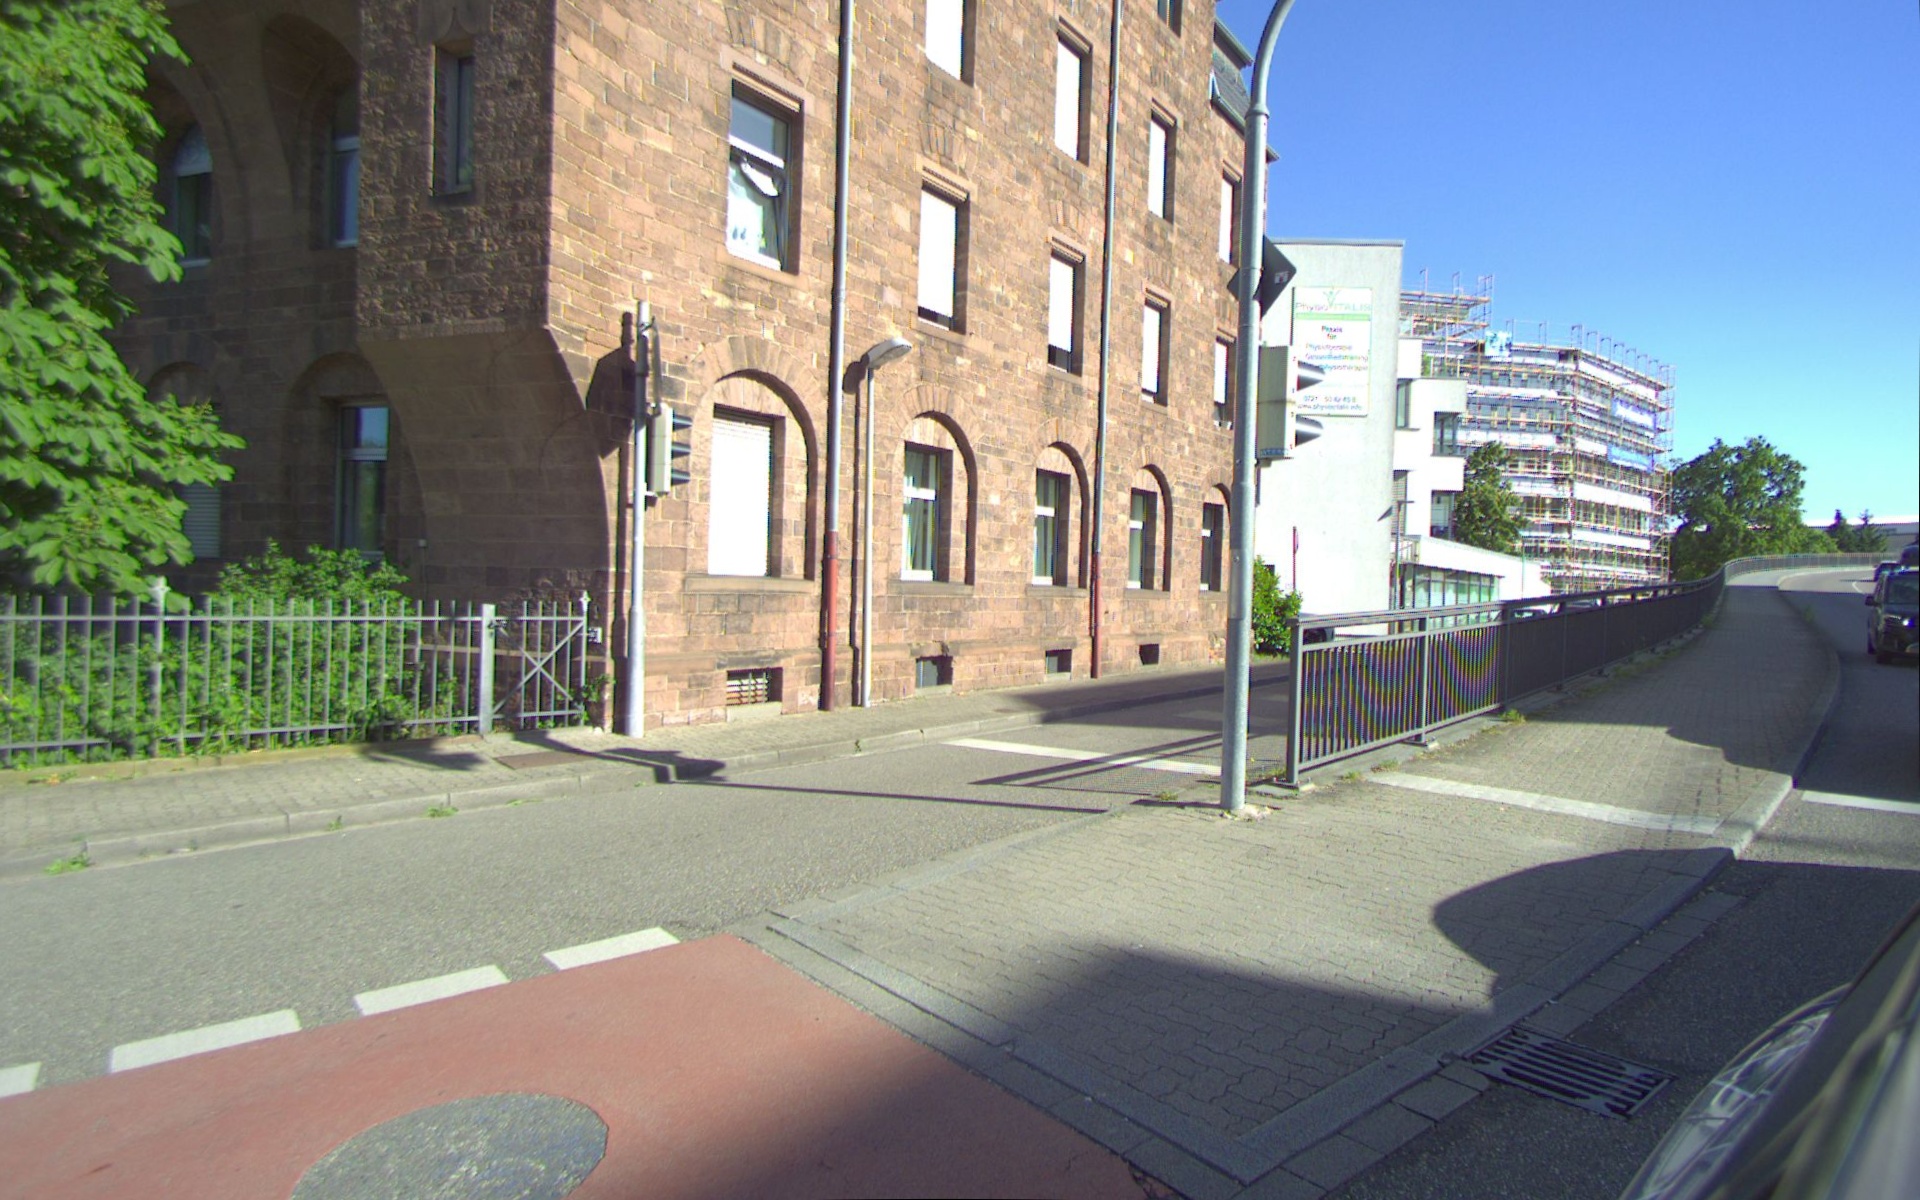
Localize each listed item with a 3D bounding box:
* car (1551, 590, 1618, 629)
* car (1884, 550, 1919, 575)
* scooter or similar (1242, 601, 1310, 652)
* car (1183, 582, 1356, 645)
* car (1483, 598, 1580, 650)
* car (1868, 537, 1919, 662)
[{"bbox_3d":[27.596,0.395,44.665,1.843,1.554,3.940,3,2,41],"label":"car"},{"bbox_3d":[65.536,-2.618,70.371,1.820,1.522,4.381,3,1,43],"label":"car"},{"bbox_3d":[7.916,0.654,25.387,1.453,1.234,0.775,-1,-1,35],"label":"scooter or similar"},{"bbox_3d":[9.107,0.368,30.071,4.562,1.789,1.828,0,2,2],"label":"car"},{"bbox_3d":[19.130,0.745,33.775,1.844,1.448,4.611,1,3,42],"label":"car"},{"bbox_3d":[19.131,-0.086,19.572,1.901,2.240,4.538,2,4,37],"label":"car"}]
